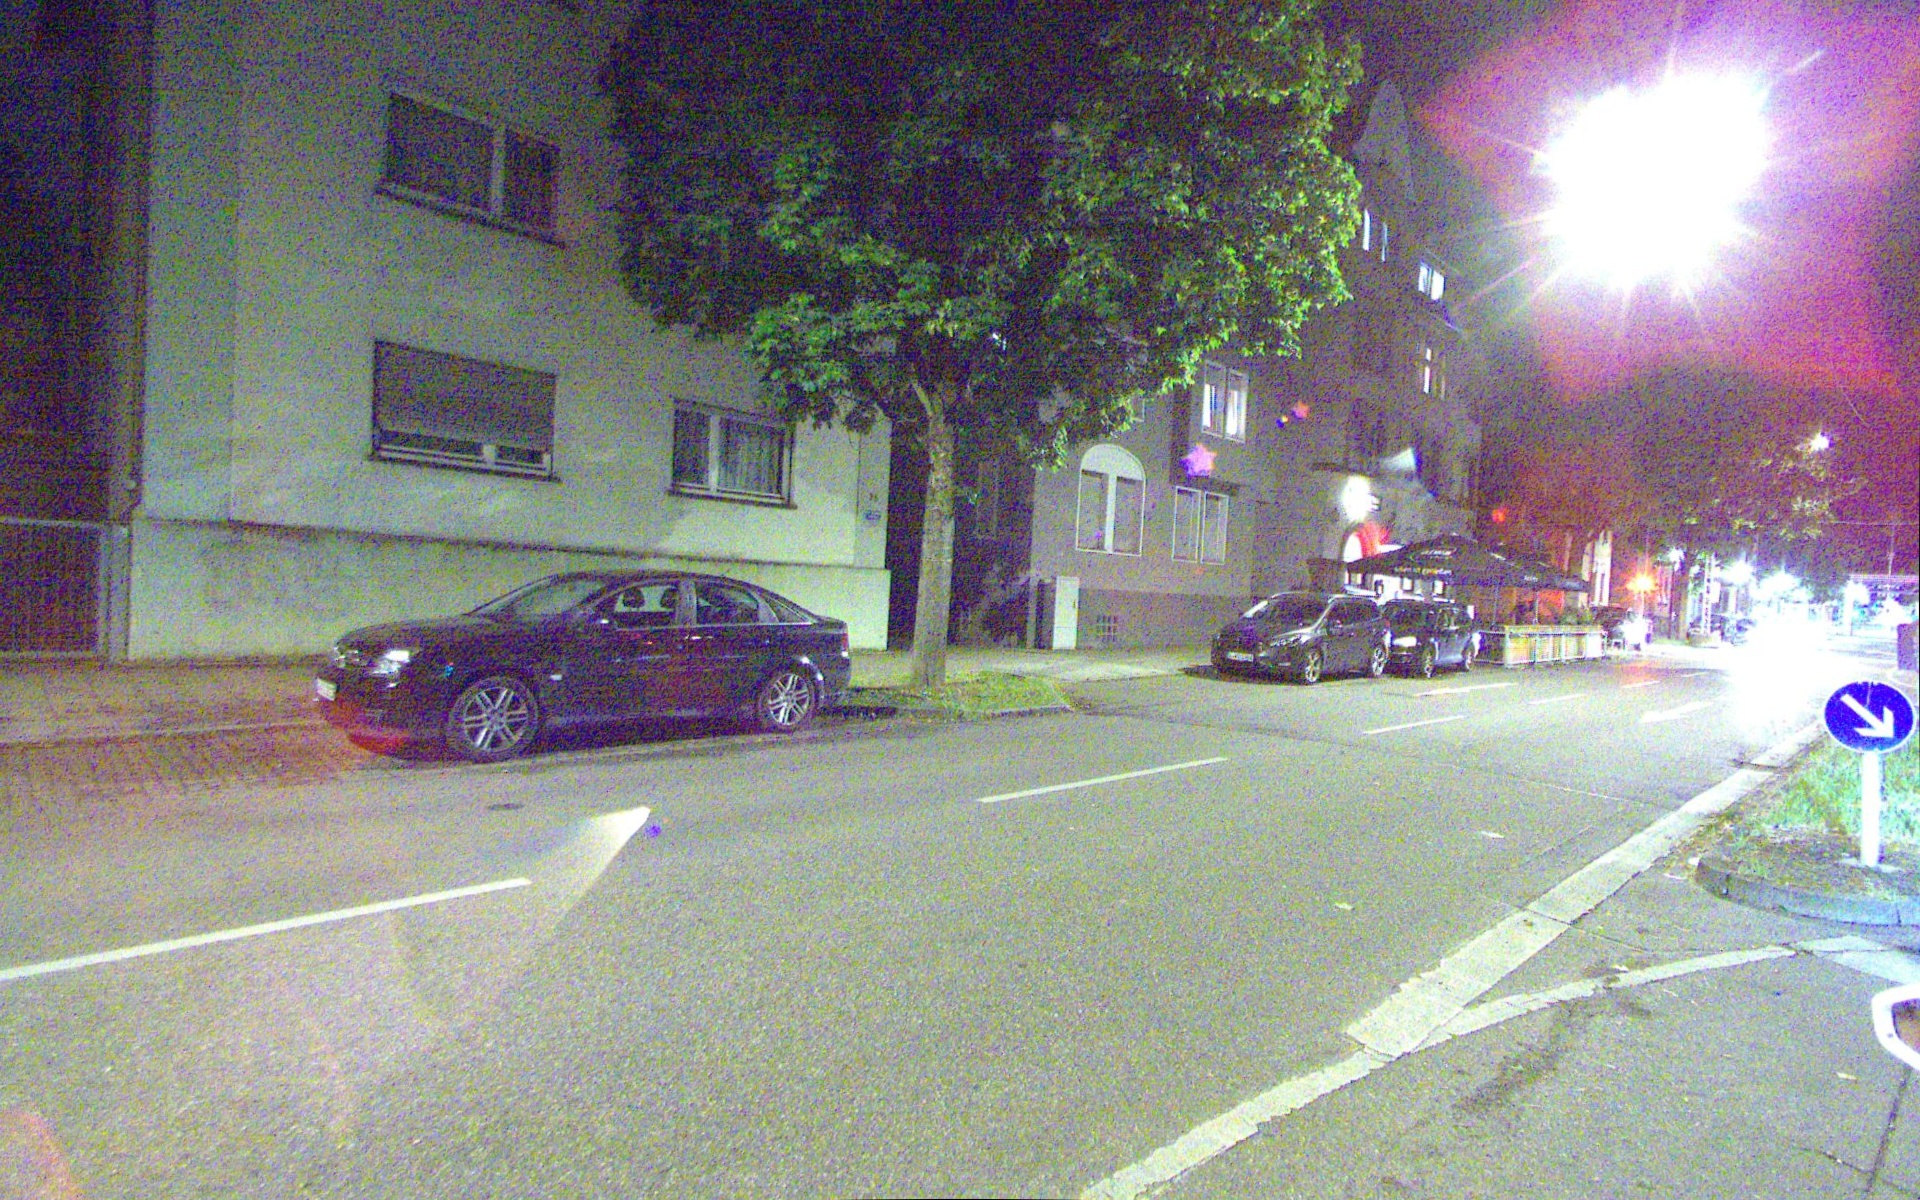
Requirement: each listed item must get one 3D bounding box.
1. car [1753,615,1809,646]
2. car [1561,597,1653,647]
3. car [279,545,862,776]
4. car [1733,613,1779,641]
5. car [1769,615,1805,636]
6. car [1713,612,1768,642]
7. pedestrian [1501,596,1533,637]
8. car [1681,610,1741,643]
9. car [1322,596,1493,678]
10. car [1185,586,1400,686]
[{"bbox_3d":[40.632,1.485,49.675,3.974,1.449,1.698,1,1,-45],"label":"car"},{"bbox_3d":[23.997,0.821,37.202,3.996,1.618,1.867,2,3,-44],"label":"car"},{"bbox_3d":[-3.133,0.400,8.799,1.840,1.453,4.379,6,3,42],"label":"car"},{"bbox_3d":[49.058,1.638,61.898,1.765,1.511,3.976,8,5,43],"label":"car"},{"bbox_3d":[63.429,1.923,77.035,1.765,1.434,4.102,6,4,43],"label":"car"},{"bbox_3d":[44.932,1.558,57.797,4.299,1.511,1.767,1,5,-43],"label":"car"},{"bbox_3d":[23.827,0.696,42.960,1.113,1.713,0.705,1,2,-35],"label":"pedestrian"},{"bbox_3d":[38.790,1.379,51.871,3.670,1.511,1.578,2,4,-41],"label":"car"},{"bbox_3d":[9.755,0.761,21.737,4.415,1.453,1.842,2,3,-45],"label":"car"},{"bbox_3d":[6.107,0.614,18.174,1.842,1.499,4.444,5,2,45],"label":"car"}]
